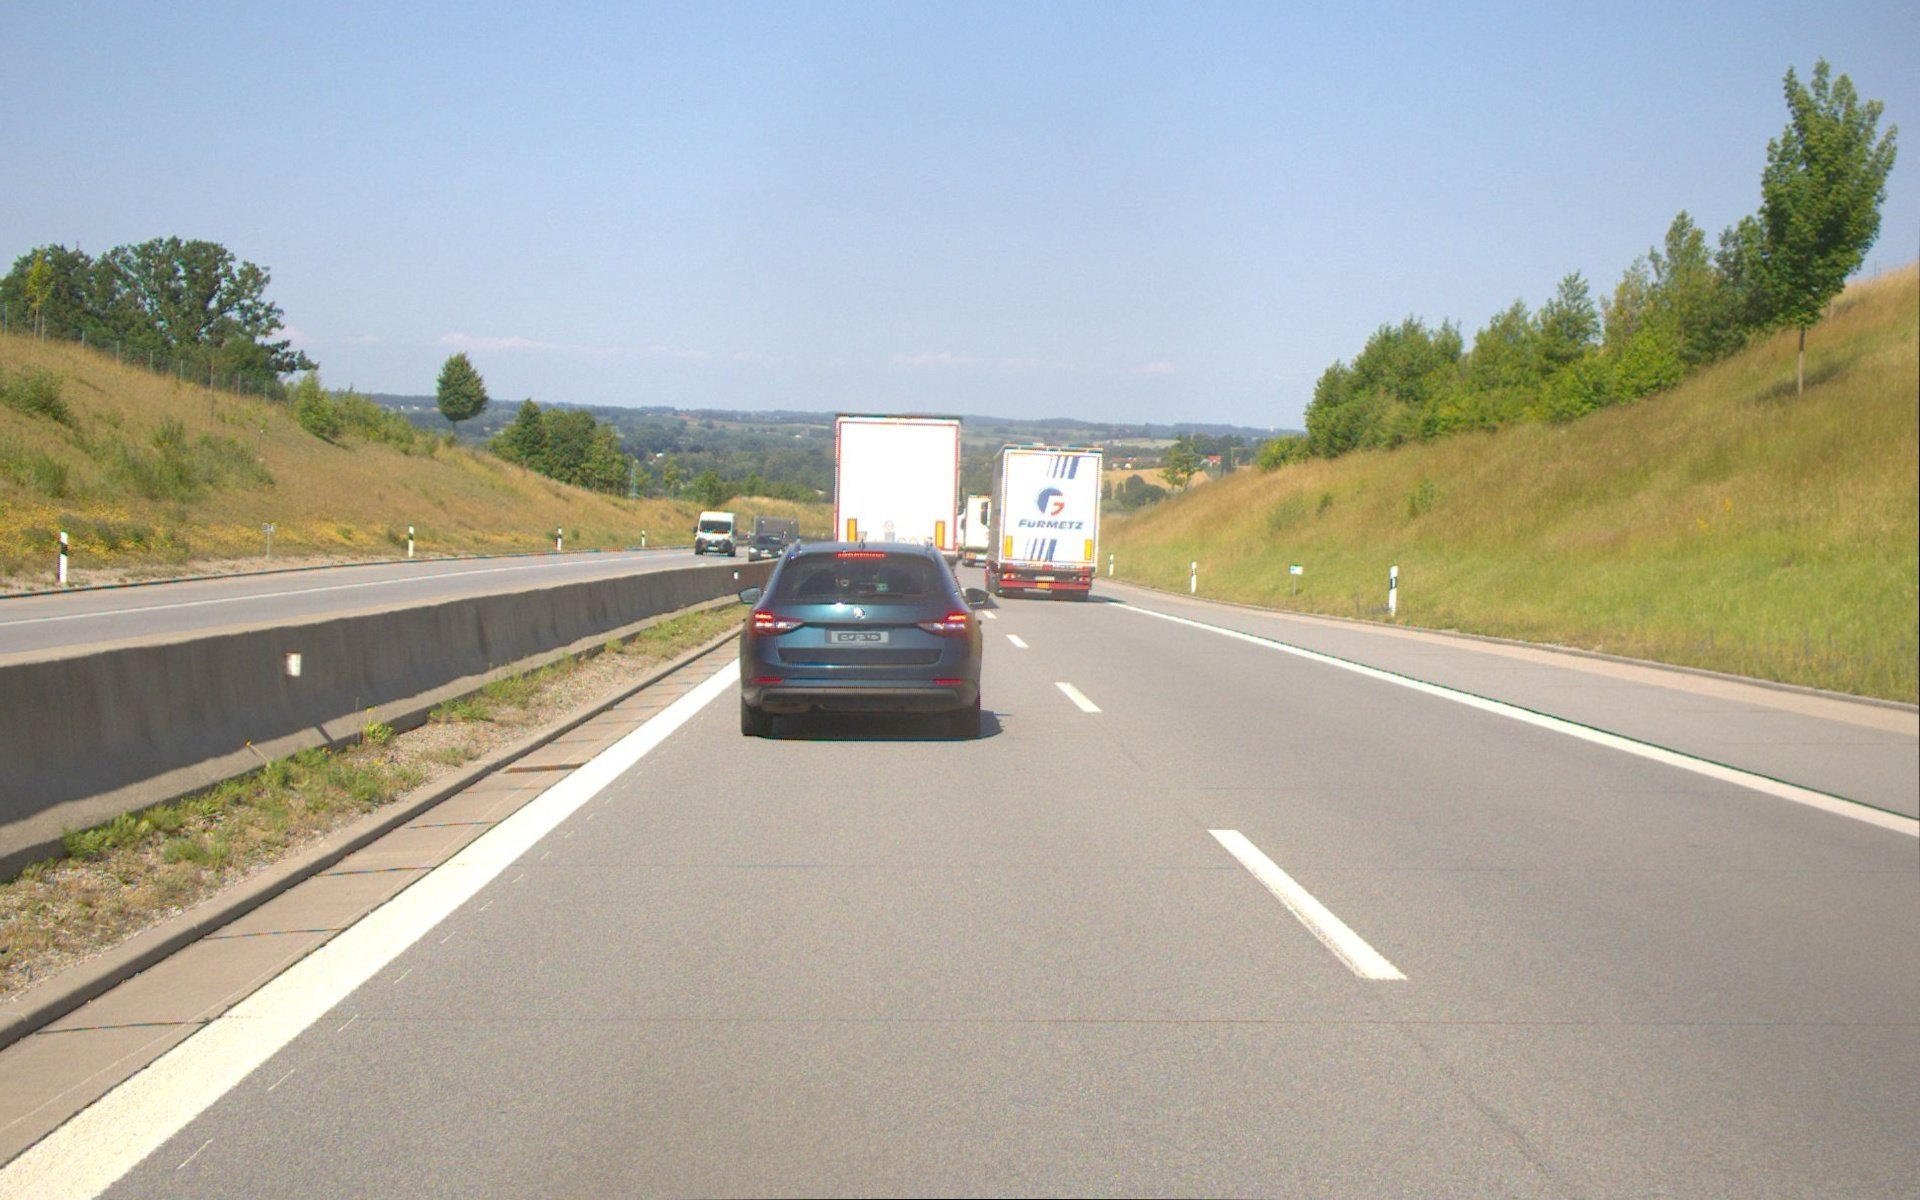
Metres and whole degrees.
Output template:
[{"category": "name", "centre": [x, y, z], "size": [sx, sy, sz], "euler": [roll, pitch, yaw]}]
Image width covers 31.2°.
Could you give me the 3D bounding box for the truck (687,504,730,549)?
[{"category": "truck", "centre": [-14.092, -4.123, 192.763], "size": [1.993, 2.440, 5.668], "euler": [2, 1, -1]}]

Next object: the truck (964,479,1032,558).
[{"category": "truck", "centre": [2.241, -4.715, 198.222], "size": [3.604, 4.366, 11.233], "euler": [1, 1, 2]}]

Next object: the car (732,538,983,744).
[{"category": "car", "centre": [-0.783, 0.257, 26.330], "size": [1.776, 1.436, 3.789], "euler": [0, 1, -2]}]

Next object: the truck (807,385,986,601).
[{"category": "truck", "centre": [-1.257, -2.313, 75.833], "size": [3.211, 4.366, 11.233], "euler": [1, 1, 2]}]

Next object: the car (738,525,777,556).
[{"category": "car", "centre": [-9.856, -2.906, 167.544], "size": [1.773, 1.444, 4.184], "euler": [1, 1, -3]}]

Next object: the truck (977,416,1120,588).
[{"category": "truck", "centre": [2.465, -2.636, 93.703], "size": [3.604, 4.366, 11.233], "euler": [1, 1, 2]}]
